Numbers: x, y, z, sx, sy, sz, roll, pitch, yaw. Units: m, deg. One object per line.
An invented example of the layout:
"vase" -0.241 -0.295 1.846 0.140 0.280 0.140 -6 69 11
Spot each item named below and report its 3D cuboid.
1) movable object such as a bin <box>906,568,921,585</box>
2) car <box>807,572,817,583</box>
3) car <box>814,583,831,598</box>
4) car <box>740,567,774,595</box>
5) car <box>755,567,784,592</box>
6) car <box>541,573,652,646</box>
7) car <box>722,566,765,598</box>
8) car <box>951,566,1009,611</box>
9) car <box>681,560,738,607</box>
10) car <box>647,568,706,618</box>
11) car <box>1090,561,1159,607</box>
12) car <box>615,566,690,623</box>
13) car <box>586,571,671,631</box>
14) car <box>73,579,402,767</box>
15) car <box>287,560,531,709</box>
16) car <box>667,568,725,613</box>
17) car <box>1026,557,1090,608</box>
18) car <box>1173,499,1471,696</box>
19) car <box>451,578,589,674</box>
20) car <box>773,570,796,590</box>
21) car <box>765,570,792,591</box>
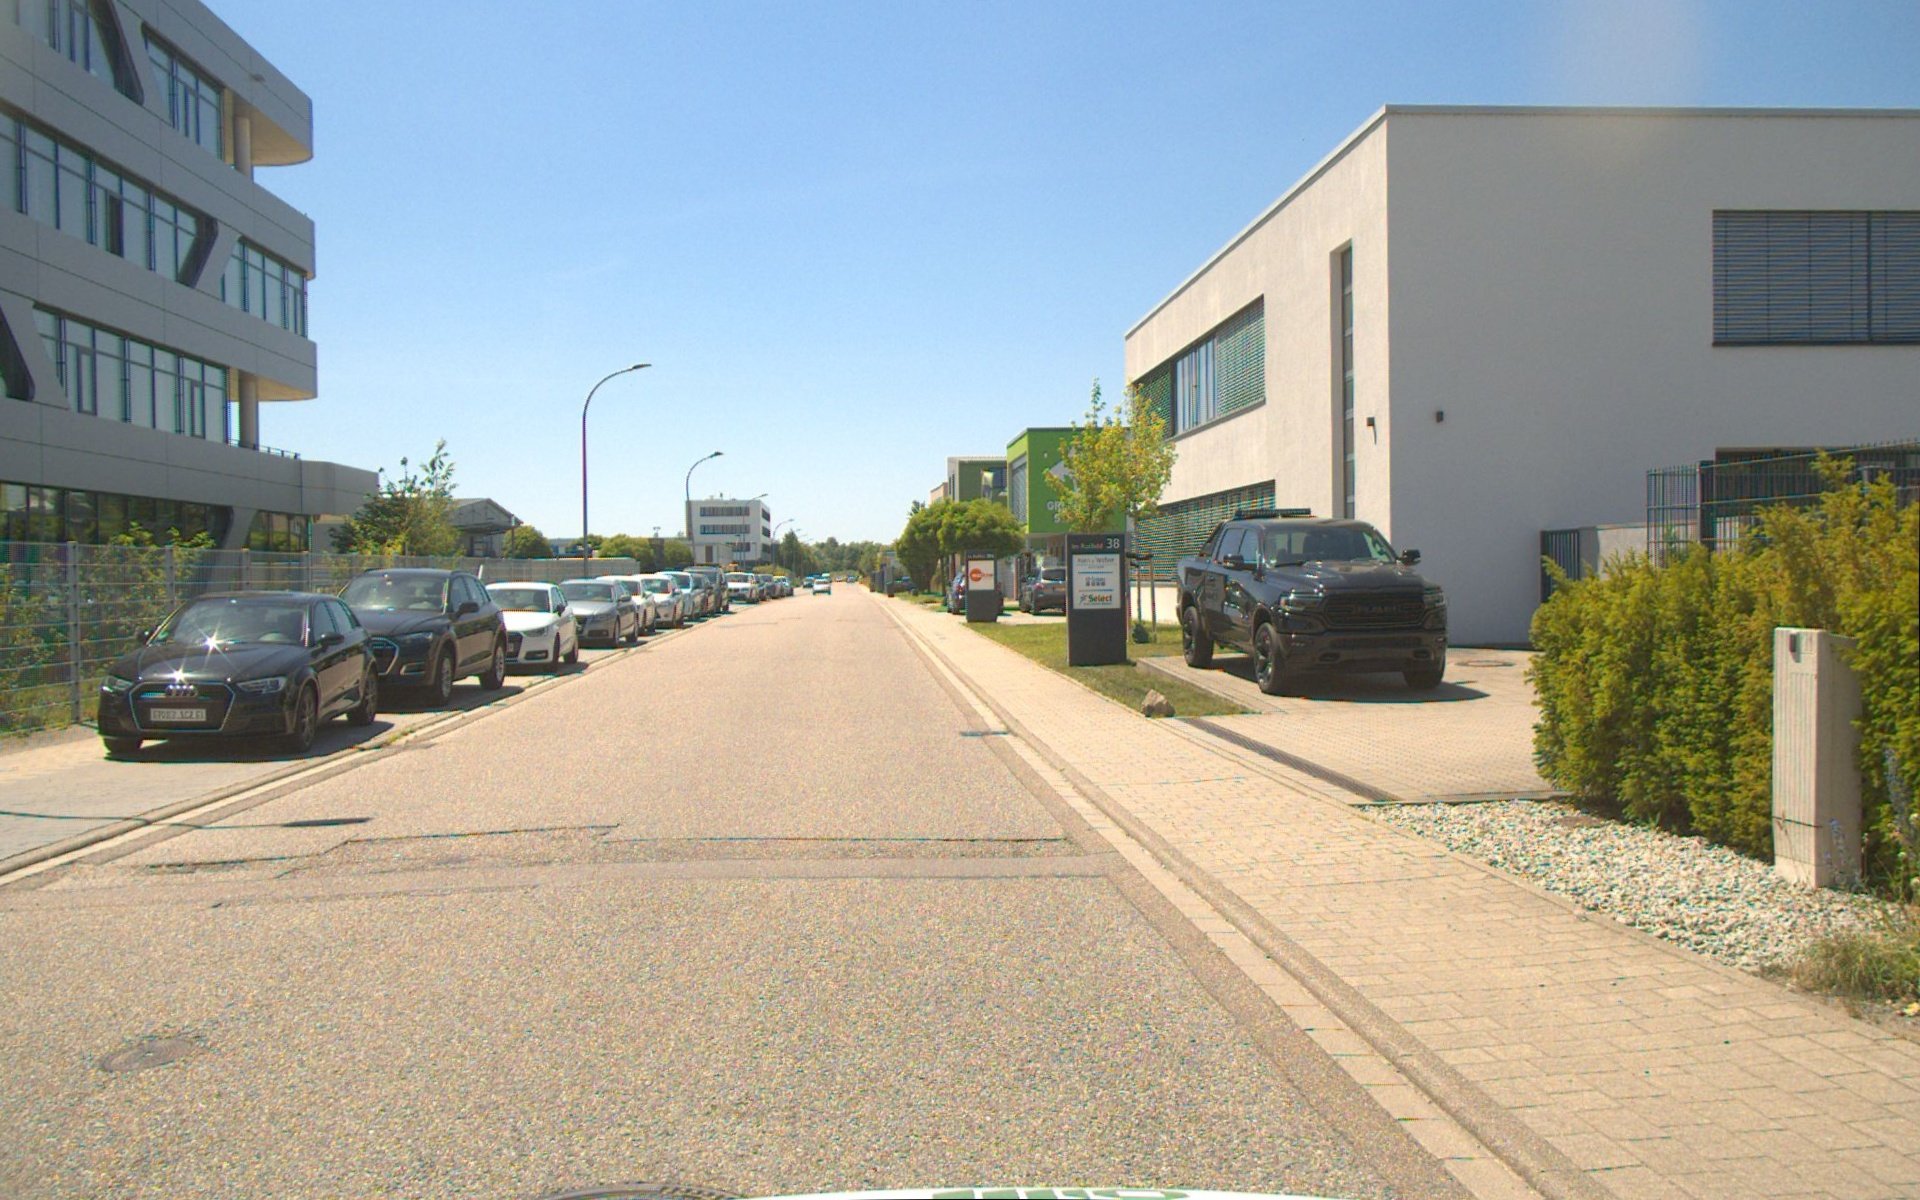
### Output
"movable object such as a bin" -4.308 -2.185 152.265 1.308 1.485 0.948 -2 1 -5
"car" -21.537 -3.293 240.830 1.438 1.515 3.205 -1 1 -3
"car" -13.425 -0.953 161.535 1.671 1.436 4.779 0 1 -5
"car" -11.826 -1.113 96.647 1.728 1.544 4.376 0 1 -4
"car" -12.658 -1.354 110.309 1.755 1.635 4.459 -1 1 -5
"car" -8.003 0.162 36.805 1.650 1.410 4.637 -1 2 -3
"car" -10.976 -0.917 84.088 1.751 1.569 4.363 -1 1 -2
"car" 0.643 -0.428 56.364 1.659 1.452 4.243 -1 1 -4
"car" -9.658 -0.667 64.046 1.767 1.749 4.619 0 1 -4
"car" -9.290 -0.262 54.390 1.602 1.563 3.655 0 1 -5
"car" 5.532 -0.553 55.999 1.689 1.474 4.019 -1 1 -4
"car" -8.958 -0.205 48.496 1.670 1.563 4.568 0 1 -5
"car" -8.659 -0.019 43.522 1.670 1.469 4.436 0 1 -5
"car" -6.897 0.596 16.285 1.736 1.492 4.181 -1 2 -6
"car" -7.128 0.348 21.951 1.734 1.680 4.849 -1 2 -2
"car" -9.423 -0.376 59.279 1.602 1.526 3.969 0 1 -3
"car" 3.296 -0.622 56.372 1.689 1.661 4.019 -1 1 -4
"car" 4.292 -0.198 20.737 1.955 2.048 5.795 -2 3 -5
"car" -7.389 0.385 28.081 1.667 1.410 3.932 -1 2 -6
"car" -14.368 -1.658 135.613 1.734 1.620 4.356 -1 1 -5
"car" -13.867 -1.490 126.510 1.820 1.506 4.226 -1 1 -4
